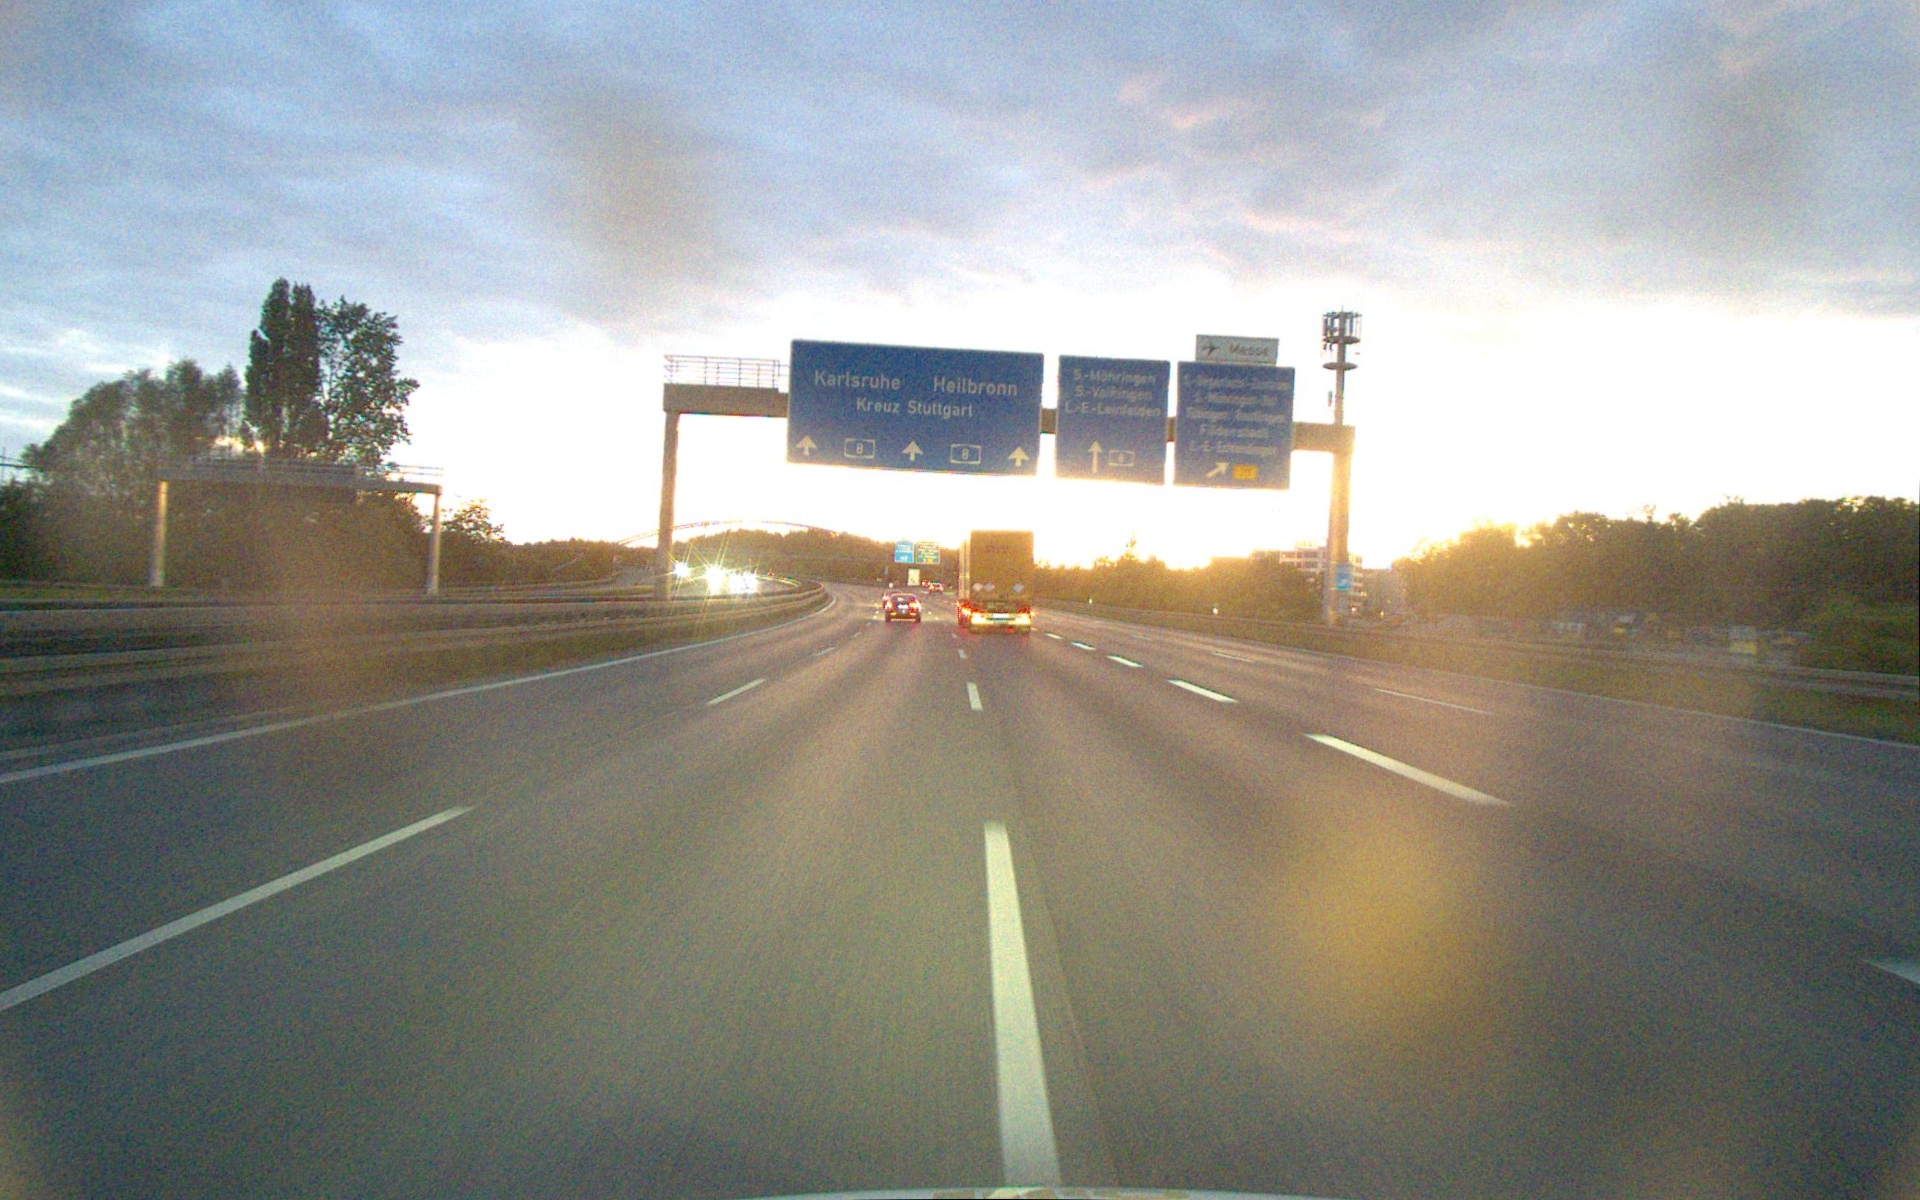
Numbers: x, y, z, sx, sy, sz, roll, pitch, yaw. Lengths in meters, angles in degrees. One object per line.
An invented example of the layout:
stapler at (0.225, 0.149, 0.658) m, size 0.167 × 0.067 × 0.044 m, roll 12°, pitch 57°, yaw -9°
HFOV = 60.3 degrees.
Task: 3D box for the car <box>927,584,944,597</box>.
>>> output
car at (-3.514, -1.290, 236.774) m, size 1.956 × 1.747 × 3.993 m, roll 2°, pitch -1°, yaw -7°

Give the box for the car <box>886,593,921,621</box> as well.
car at (-2.944, 0.373, 85.858) m, size 1.656 × 1.426 × 3.405 m, roll 1°, pitch -1°, yaw -4°

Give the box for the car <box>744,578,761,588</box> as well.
car at (-28.321, -2.307, 226.120) m, size 1.954 × 1.382 × 4.862 m, roll 1°, pitch 1°, yaw -4°

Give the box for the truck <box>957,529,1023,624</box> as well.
truck at (1.307, -1.118, 77.941) m, size 2.636 × 4.142 × 10.518 m, roll 1°, pitch 1°, yaw -1°

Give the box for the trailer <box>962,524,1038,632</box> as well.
trailer at (1.534, -0.933, 68.259) m, size 2.667 × 4.142 × 8.829 m, roll 1°, pitch 1°, yaw -1°

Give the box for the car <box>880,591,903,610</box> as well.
car at (-5.528, 0.042, 134.265) m, size 1.654 × 1.426 × 3.409 m, roll 0°, pitch -1°, yaw 2°
